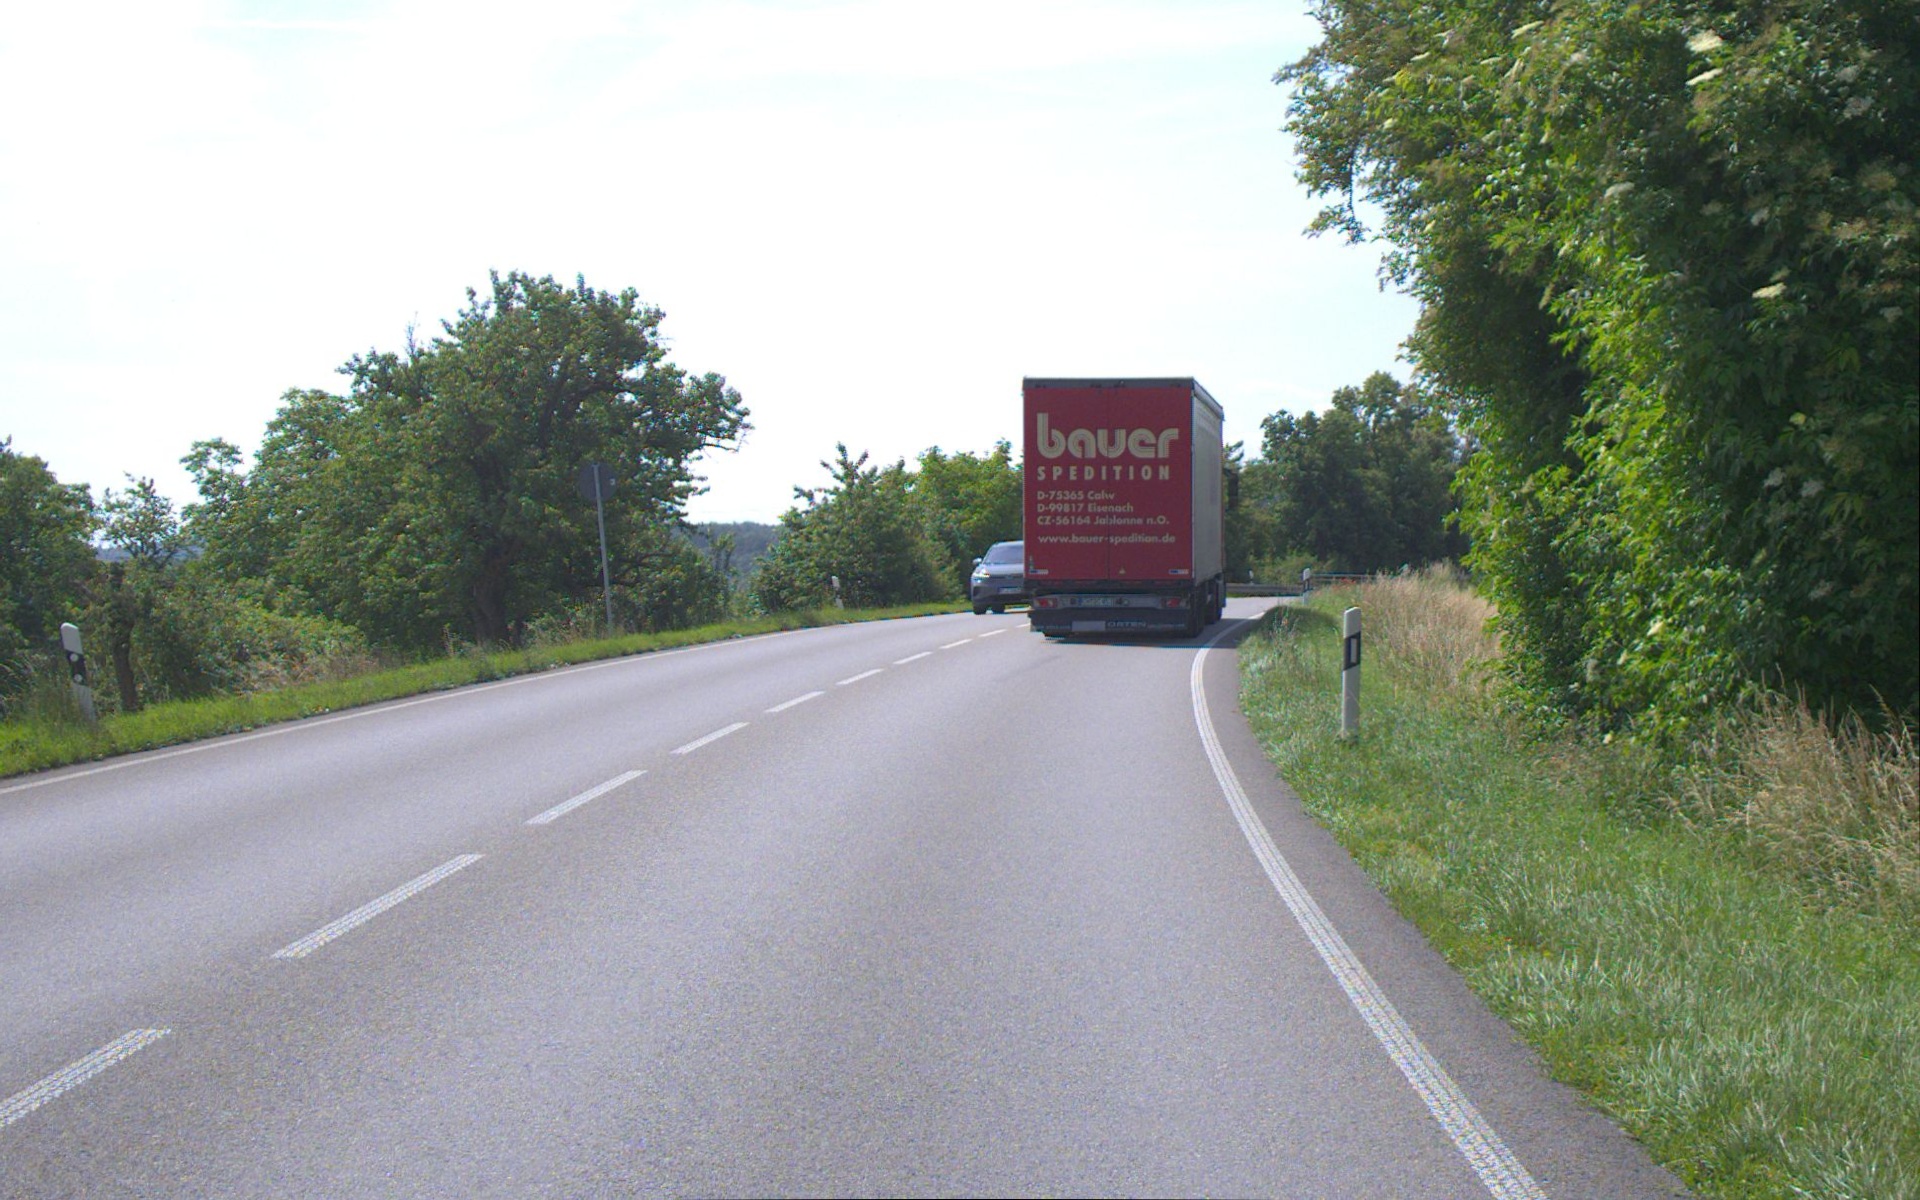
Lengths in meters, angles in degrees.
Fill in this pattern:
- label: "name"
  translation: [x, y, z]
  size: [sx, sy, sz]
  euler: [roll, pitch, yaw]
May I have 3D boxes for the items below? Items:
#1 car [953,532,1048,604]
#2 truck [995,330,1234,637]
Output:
- label: "car"
  translation: [0.935, -0.745, 77.620]
  size: [1.879, 1.587, 4.491]
  euler: [0, 1, 4]
- label: "truck"
  translation: [2.747, -1.723, 56.653]
  size: [3.113, 4.490, 12.164]
  euler: [1, 0, 6]
